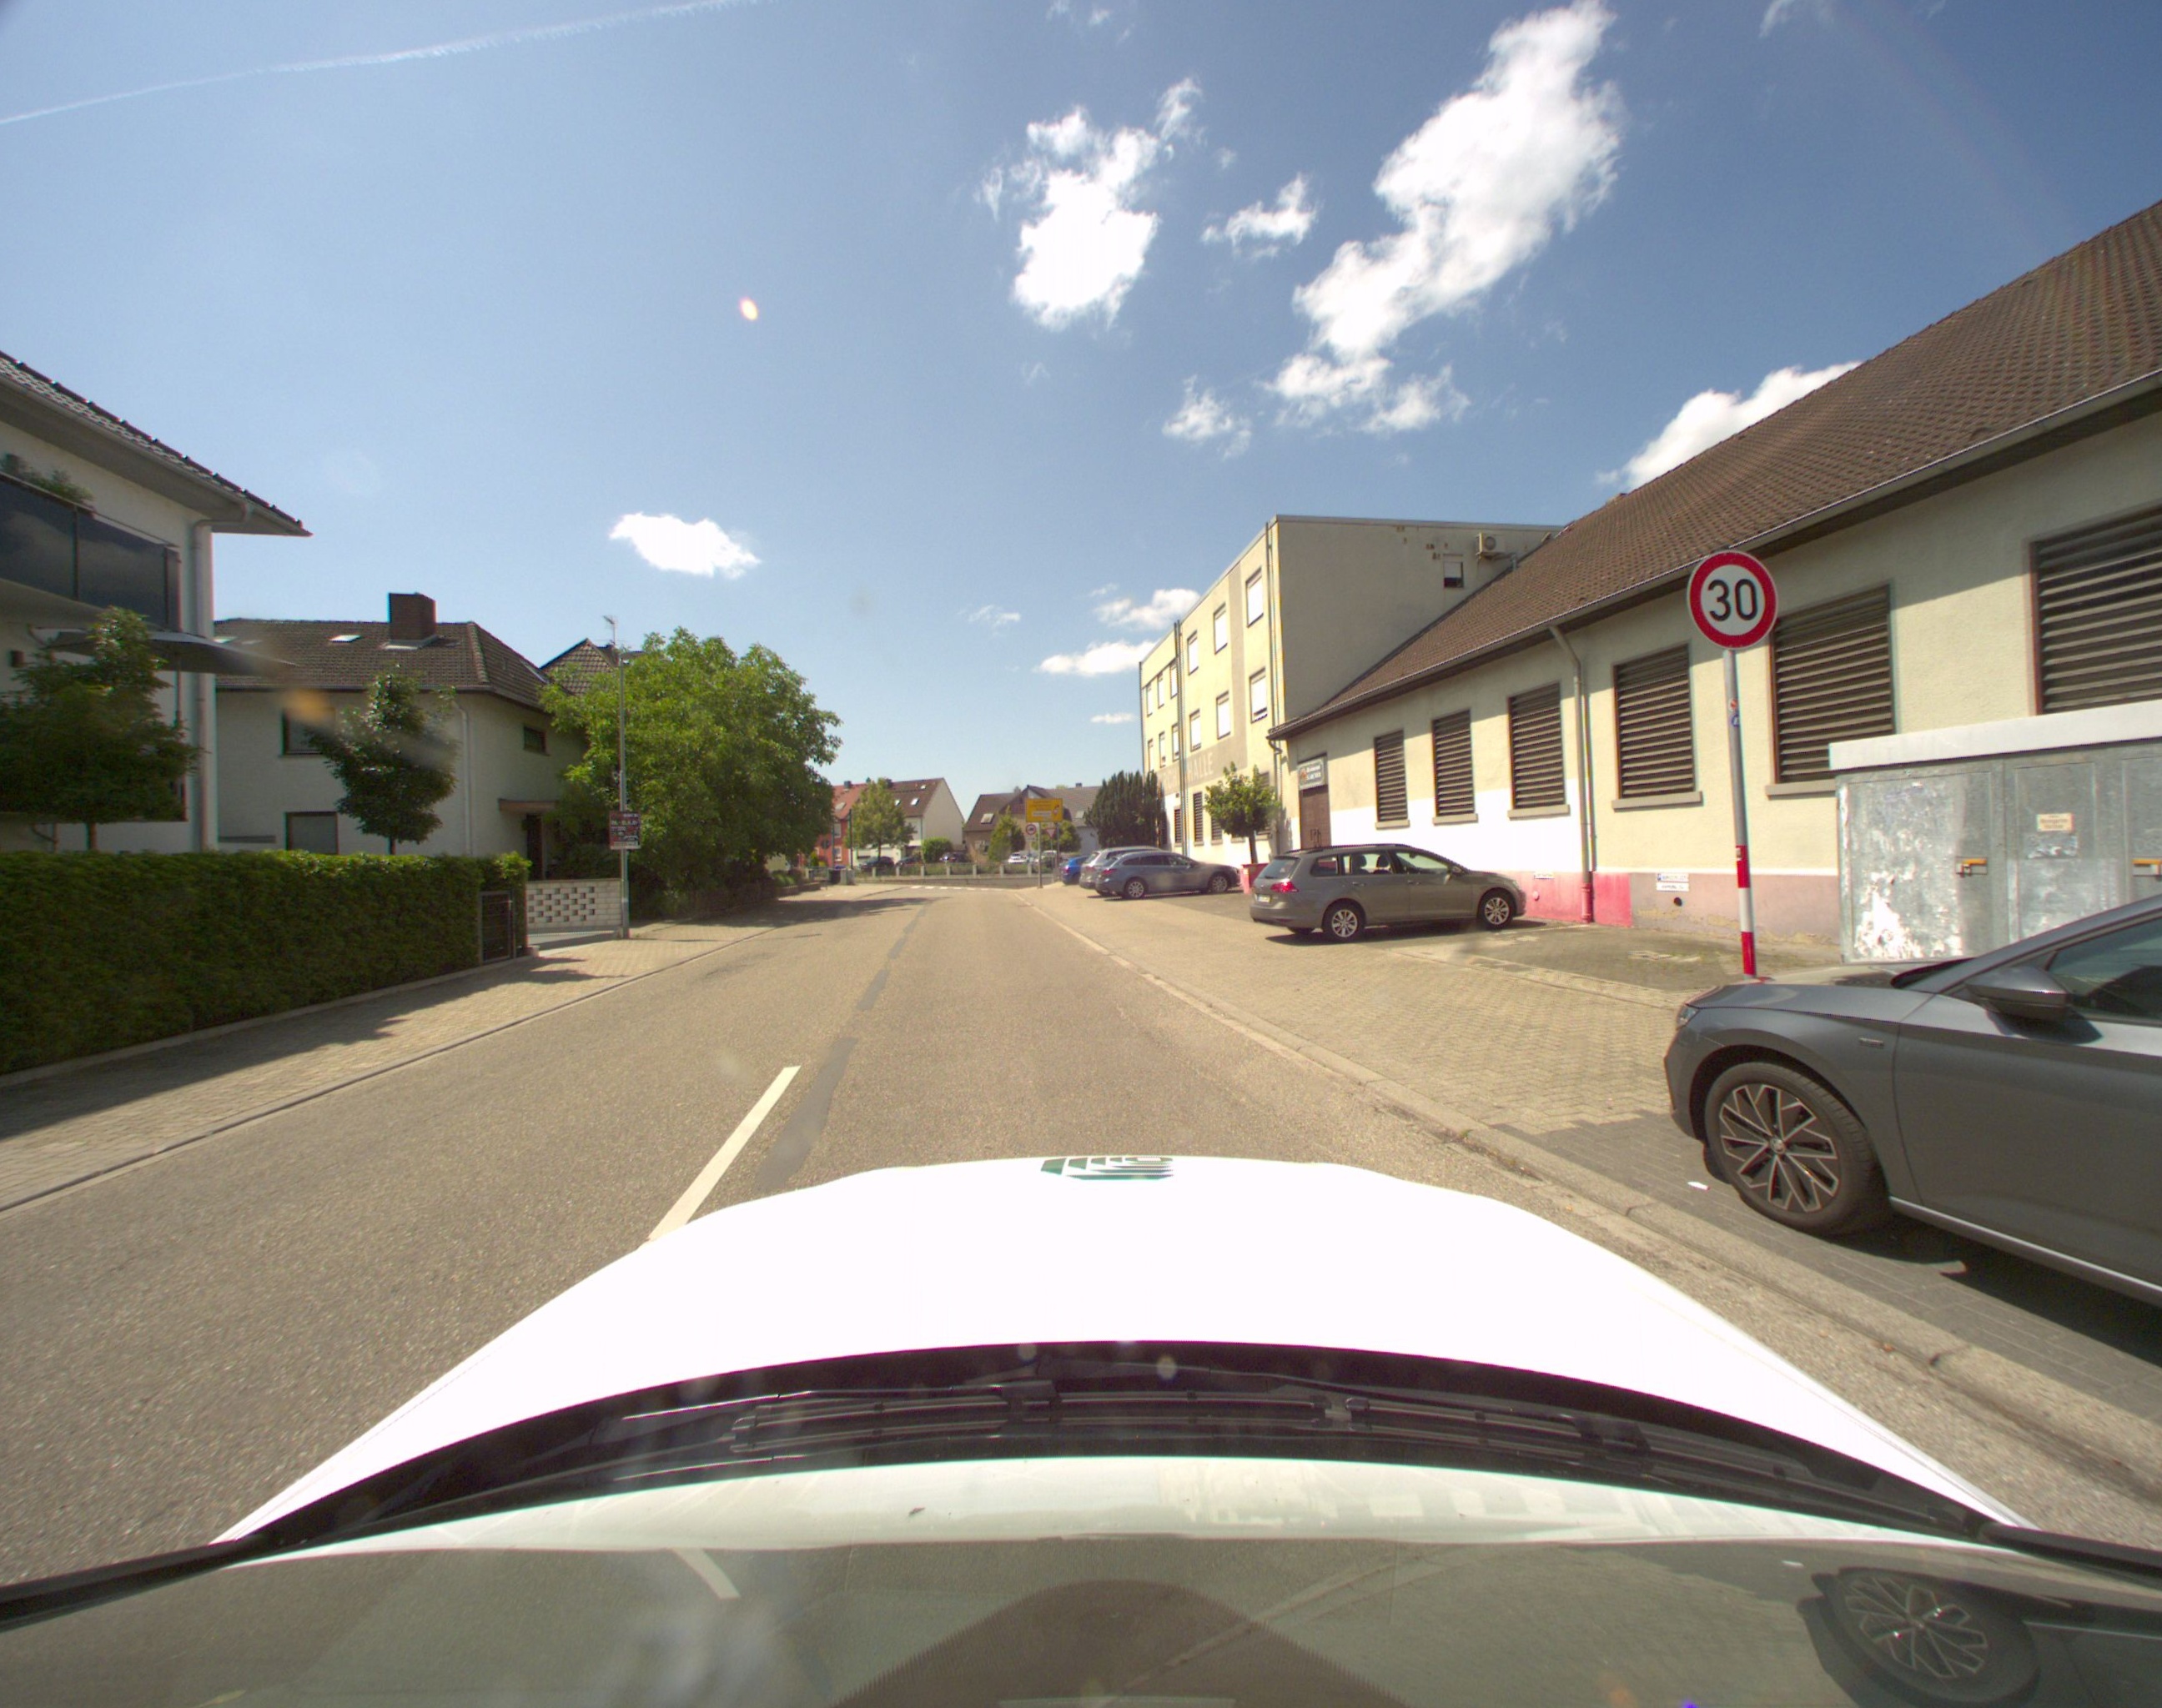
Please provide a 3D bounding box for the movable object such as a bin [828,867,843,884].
[{"bbox_3d":[-17.547,1.518,58.258,0.884,1.225,0.900,-1,-1,-7],"label":"movable object such as a bin"}]

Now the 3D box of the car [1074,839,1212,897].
[{"bbox_3d":[2.150,0.460,28.794,4.455,1.697,1.915,-4,0,-11],"label":"car"}]

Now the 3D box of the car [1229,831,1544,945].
[{"bbox_3d":[4.988,0.510,13.593,4.525,1.454,1.912,-4,0,-9],"label":"car"}]

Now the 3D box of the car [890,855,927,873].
[{"bbox_3d":[-16.604,0.969,78.637,1.852,1.586,3.625,2,-1,18],"label":"car"}]

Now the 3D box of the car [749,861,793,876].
[{"bbox_3d":[-33.125,1.582,87.093,1.726,1.489,4.279,2,-1,24],"label":"car"}]

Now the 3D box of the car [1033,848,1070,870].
[{"bbox_3d":[-2.664,0.490,74.148,1.978,1.797,4.215,2,-1,18],"label":"car"}]

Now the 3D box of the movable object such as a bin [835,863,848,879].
[{"bbox_3d":[-18.143,1.303,61.566,0.843,1.213,1.267,0,-1,-21],"label":"movable object such as a bin"}]

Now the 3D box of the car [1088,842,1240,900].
[{"bbox_3d":[2.665,0.533,26.581,4.501,1.519,1.993,-4,0,-10],"label":"car"}]

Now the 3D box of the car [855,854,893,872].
[{"bbox_3d":[-20.210,0.889,79.743,1.852,1.586,3.625,2,-1,18],"label":"car"}]

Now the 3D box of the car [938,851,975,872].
[{"bbox_3d":[-11.786,0.717,77.419,1.852,1.797,4.018,2,-1,18],"label":"car"}]

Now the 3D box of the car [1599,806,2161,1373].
[{"bbox_3d":[3.662,0.585,2.014,1.628,1.489,4.125,-3,0,-10],"label":"car"}]

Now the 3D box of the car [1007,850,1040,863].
[{"bbox_3d":[-5.209,0.233,74.807,1.810,1.020,3.474,2,-1,18],"label":"car"}]

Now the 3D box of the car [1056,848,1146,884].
[{"bbox_3d":[0.998,0.636,42.143,4.323,1.439,1.773,-5,-2,-10],"label":"car"}]

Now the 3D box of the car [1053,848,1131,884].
[{"bbox_3d":[0.584,0.698,45.375,3.898,1.490,1.803,-7,-1,-11],"label":"car"}]
